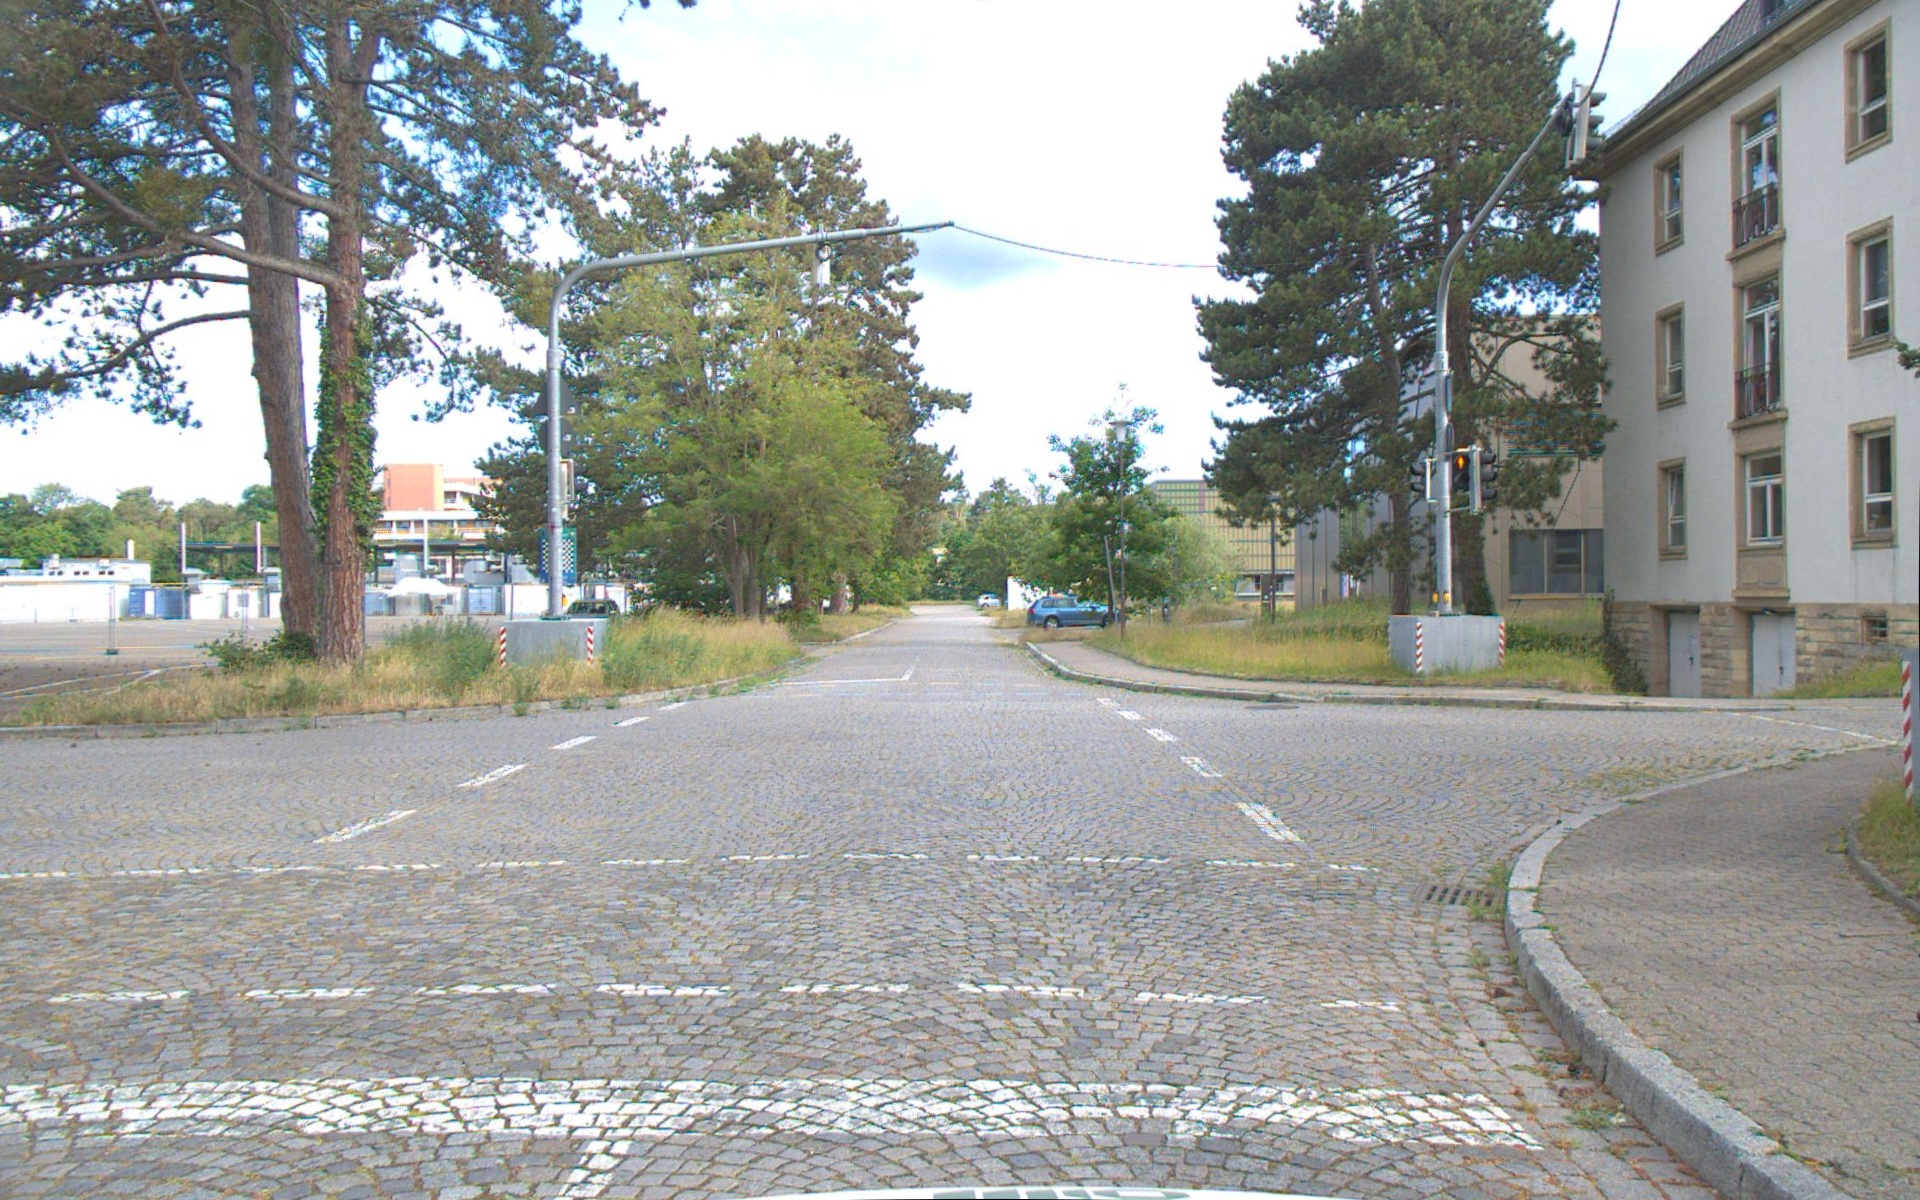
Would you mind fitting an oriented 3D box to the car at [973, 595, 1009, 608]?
[{"bbox_3d":[3.562,0.161,190.556,3.910,1.422,1.997,-1,0,-6],"label":"car"}]

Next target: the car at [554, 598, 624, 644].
[{"bbox_3d":[-13.069,0.713,58.442,1.580,1.513,4.000,-1,0,0],"label":"car"}]

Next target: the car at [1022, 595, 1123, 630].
[{"bbox_3d":[4.970,0.536,73.491,4.257,1.447,1.999,-1,0,-3],"label":"car"}]
